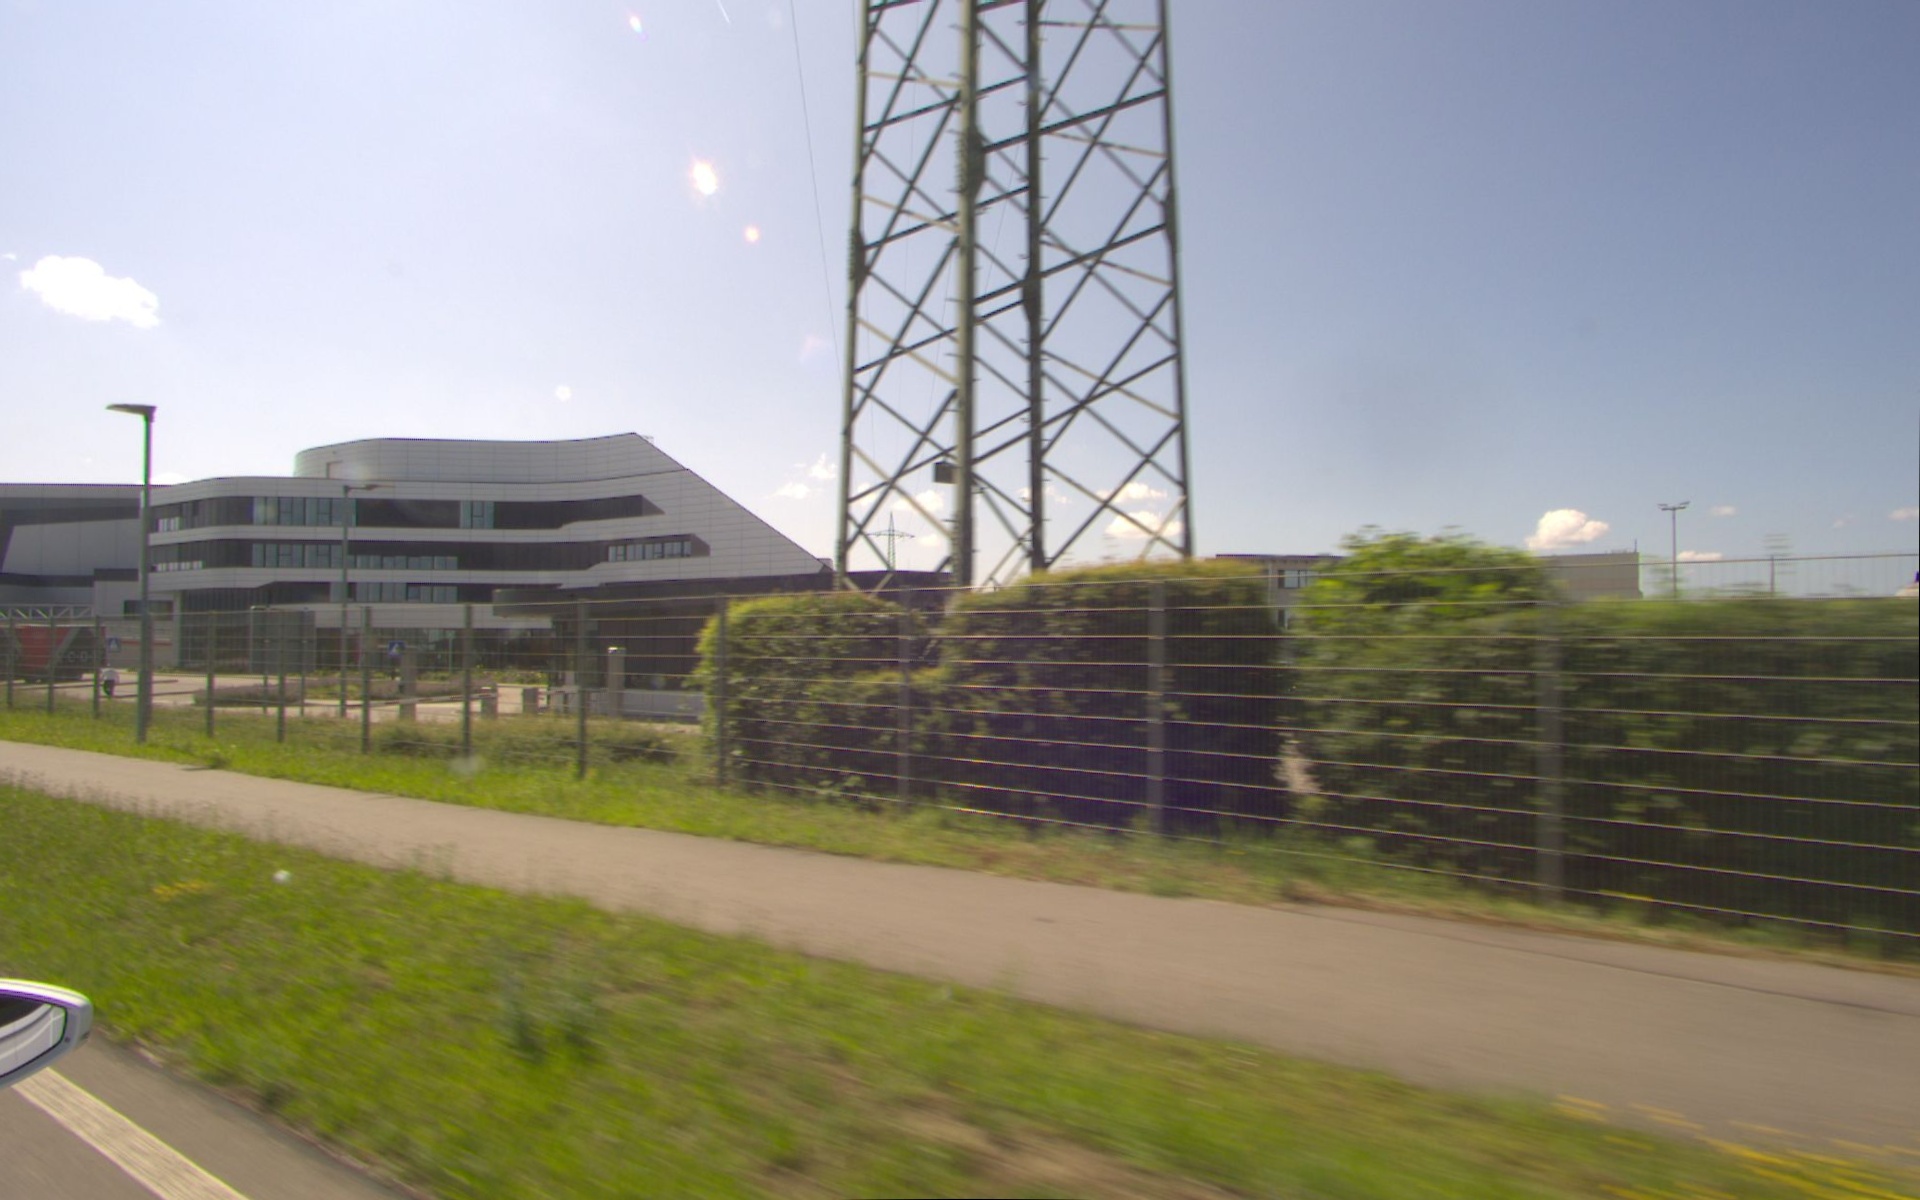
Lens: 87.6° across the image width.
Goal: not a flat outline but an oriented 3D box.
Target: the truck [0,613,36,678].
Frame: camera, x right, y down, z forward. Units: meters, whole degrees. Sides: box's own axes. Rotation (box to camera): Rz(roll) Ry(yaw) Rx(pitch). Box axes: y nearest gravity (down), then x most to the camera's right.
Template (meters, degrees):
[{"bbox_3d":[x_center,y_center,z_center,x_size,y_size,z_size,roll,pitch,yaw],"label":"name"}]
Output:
[{"bbox_3d":[-64.953,2.961,64.131,2.972,4.310,10.971,0,-2,-10],"label":"truck"}]

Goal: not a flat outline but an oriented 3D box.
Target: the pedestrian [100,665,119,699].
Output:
[{"bbox_3d":[-42.430,4.106,49.969,0.565,1.673,0.483,-1,-2,26],"label":"pedestrian"}]

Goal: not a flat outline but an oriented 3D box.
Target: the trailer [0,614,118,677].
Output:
[{"bbox_3d":[-66.625,3.319,73.791,2.972,4.350,8.714,0,-2,-10],"label":"trailer"}]
